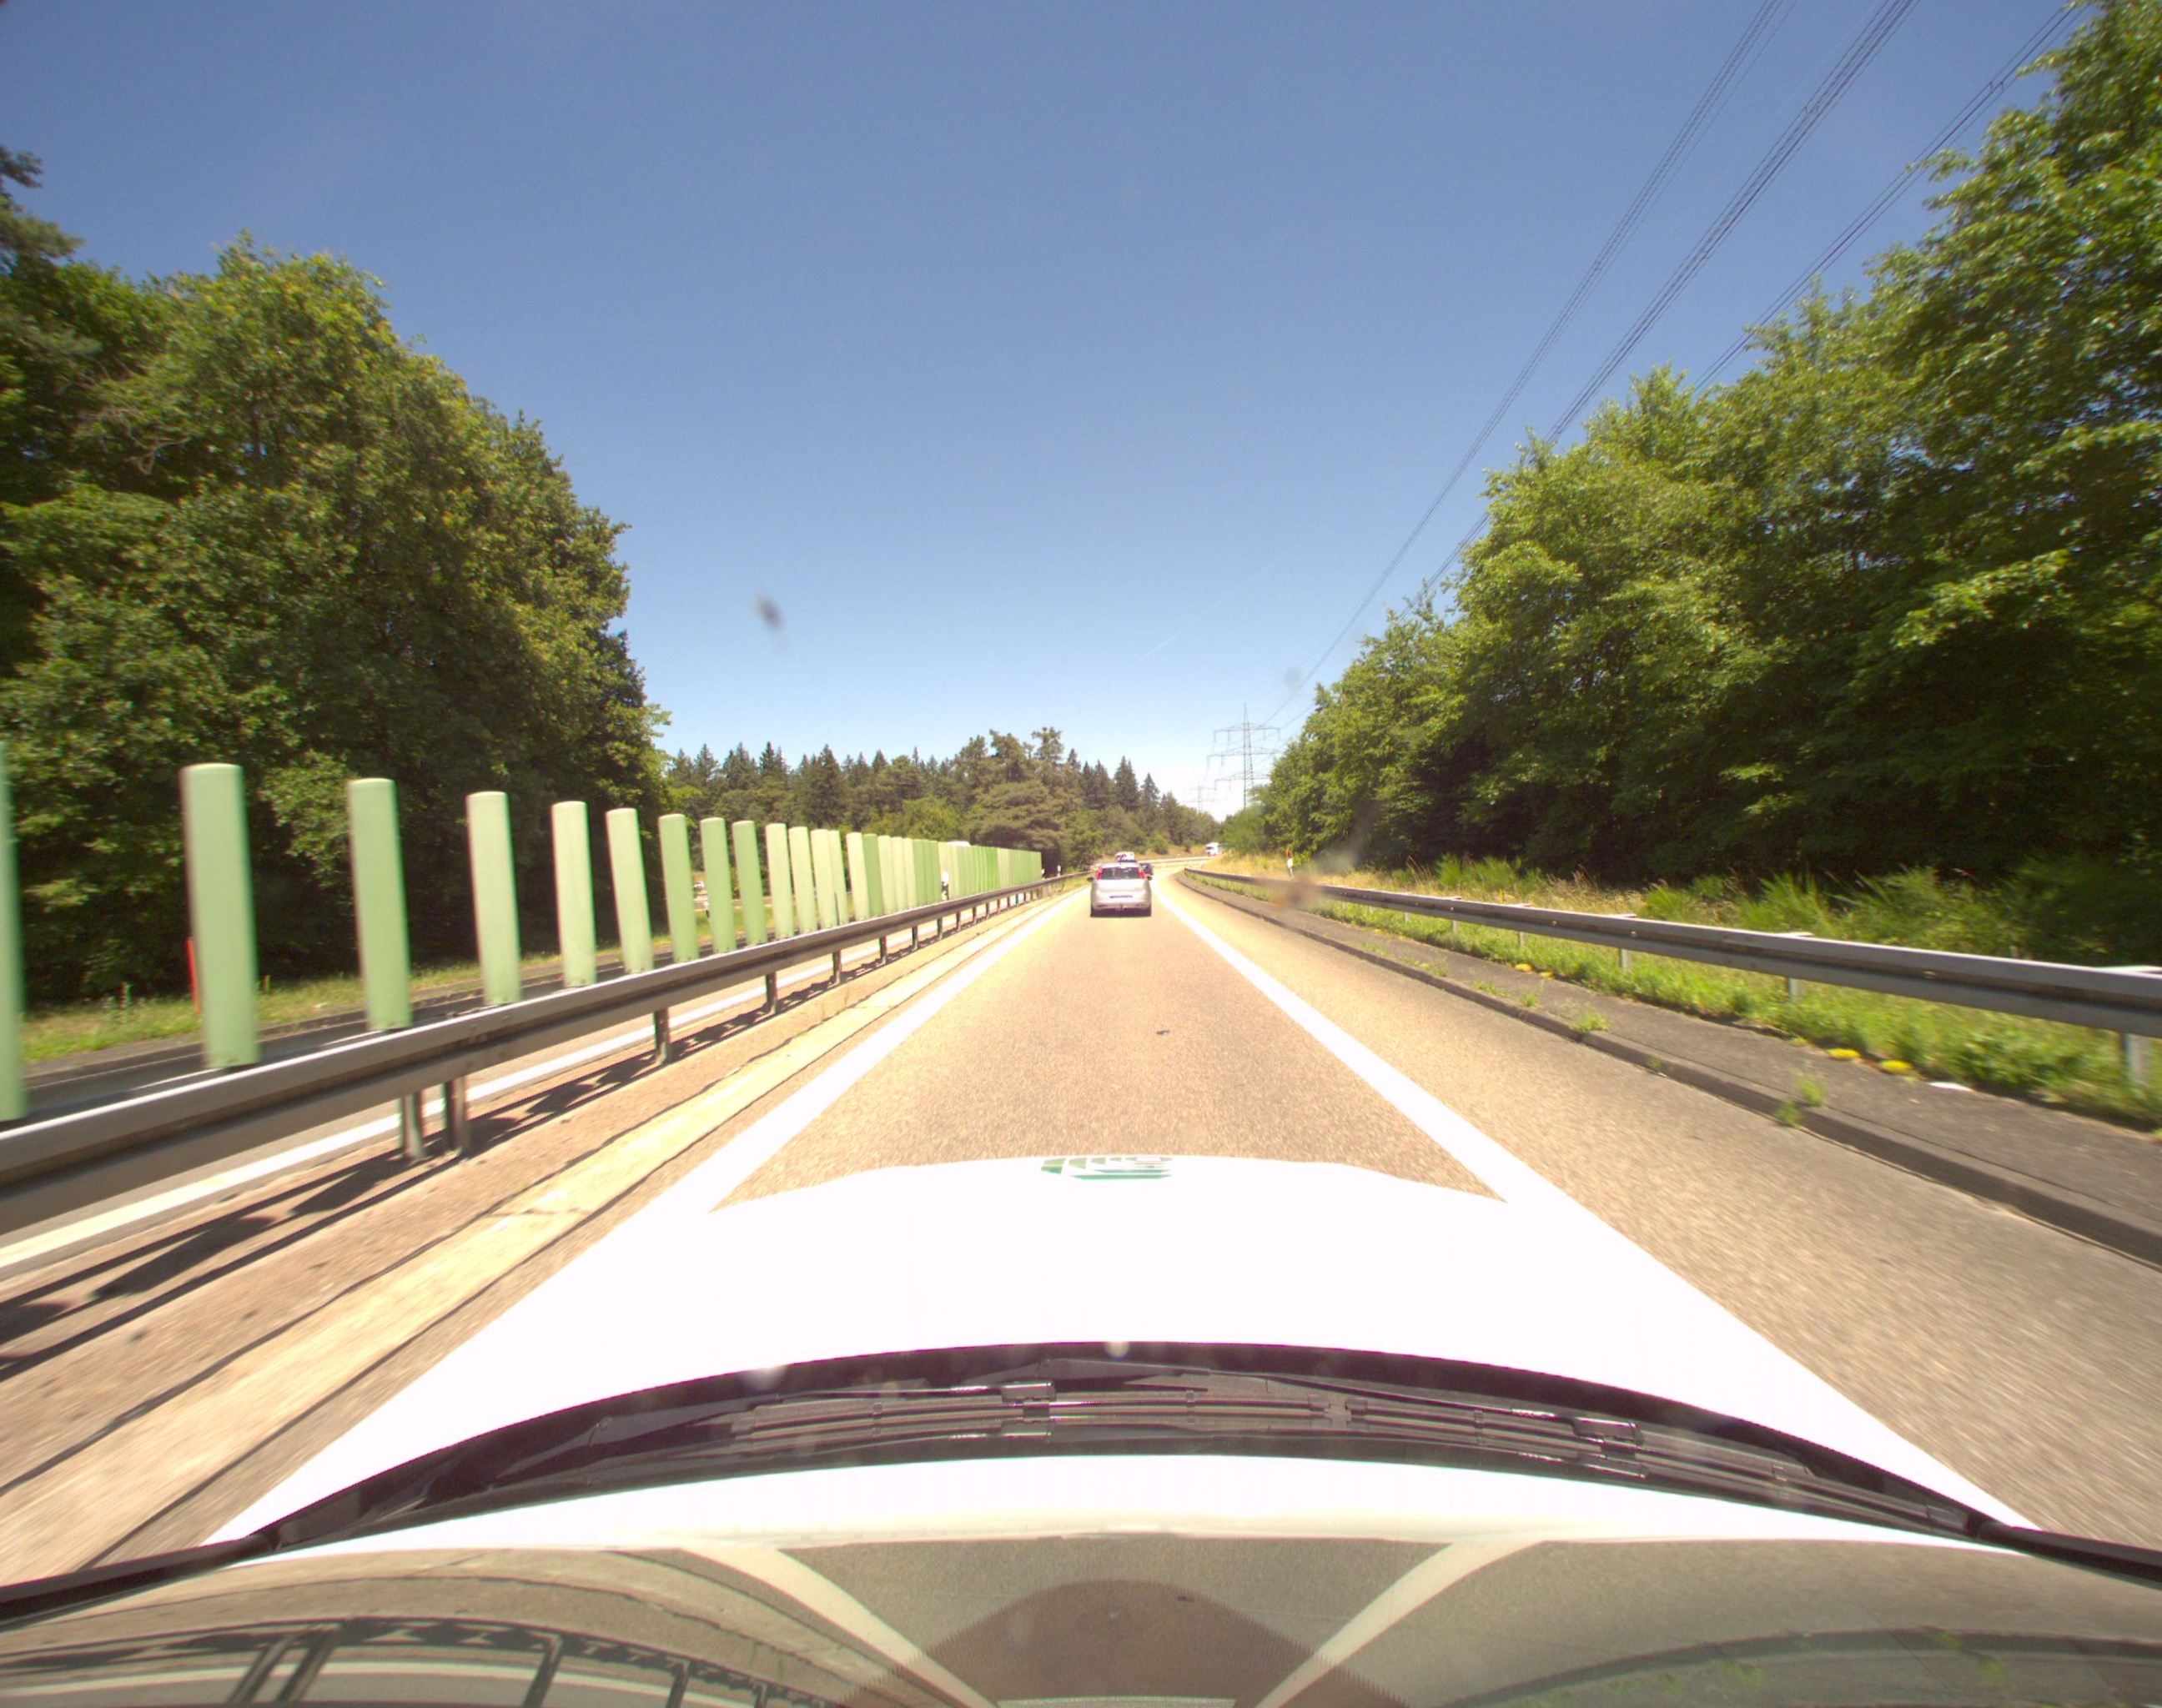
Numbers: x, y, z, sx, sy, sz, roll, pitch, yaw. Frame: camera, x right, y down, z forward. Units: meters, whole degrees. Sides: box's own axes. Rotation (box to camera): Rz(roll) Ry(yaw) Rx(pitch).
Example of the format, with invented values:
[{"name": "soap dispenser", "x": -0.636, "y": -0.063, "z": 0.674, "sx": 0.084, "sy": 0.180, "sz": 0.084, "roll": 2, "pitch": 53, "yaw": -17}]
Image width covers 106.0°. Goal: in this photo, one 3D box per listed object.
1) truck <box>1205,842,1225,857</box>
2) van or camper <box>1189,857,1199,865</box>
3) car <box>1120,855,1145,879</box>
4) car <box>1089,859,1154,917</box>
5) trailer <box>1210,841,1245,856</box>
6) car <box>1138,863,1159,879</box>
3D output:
[{"name": "truck", "x": 42.179, "y": -1.556, "z": 256.424, "sx": 6.308, "sy": 4.392, "sz": 2.912, "roll": -3, "pitch": -1, "yaw": -44}, {"name": "van or camper", "x": 23.728, "y": 1.461, "z": 171.485, "sx": 1.795, "sy": 1.486, "sz": 4.013, "roll": -2, "pitch": 0, "yaw": 11}, {"name": "car", "x": 3.768, "y": 0.948, "z": 60.279, "sx": 1.700, "sy": 1.676, "sz": 3.399, "roll": -1, "pitch": 0, "yaw": 2}, {"name": "car", "x": 1.098, "y": 0.916, "z": 23.224, "sx": 1.700, "sy": 1.482, "sz": 3.398, "roll": -1, "pitch": 0, "yaw": 1}, {"name": "trailer", "x": 47.178, "y": -1.771, "z": 261.253, "sx": 14.381, "sy": 4.387, "sz": 2.898, "roll": -3, "pitch": -1, "yaw": -44}, {"name": "car", "x": 7.603, "y": 1.903, "z": 91.450, "sx": 1.871, "sy": 1.684, "sz": 4.010, "roll": -4, "pitch": -1, "yaw": 8}]
